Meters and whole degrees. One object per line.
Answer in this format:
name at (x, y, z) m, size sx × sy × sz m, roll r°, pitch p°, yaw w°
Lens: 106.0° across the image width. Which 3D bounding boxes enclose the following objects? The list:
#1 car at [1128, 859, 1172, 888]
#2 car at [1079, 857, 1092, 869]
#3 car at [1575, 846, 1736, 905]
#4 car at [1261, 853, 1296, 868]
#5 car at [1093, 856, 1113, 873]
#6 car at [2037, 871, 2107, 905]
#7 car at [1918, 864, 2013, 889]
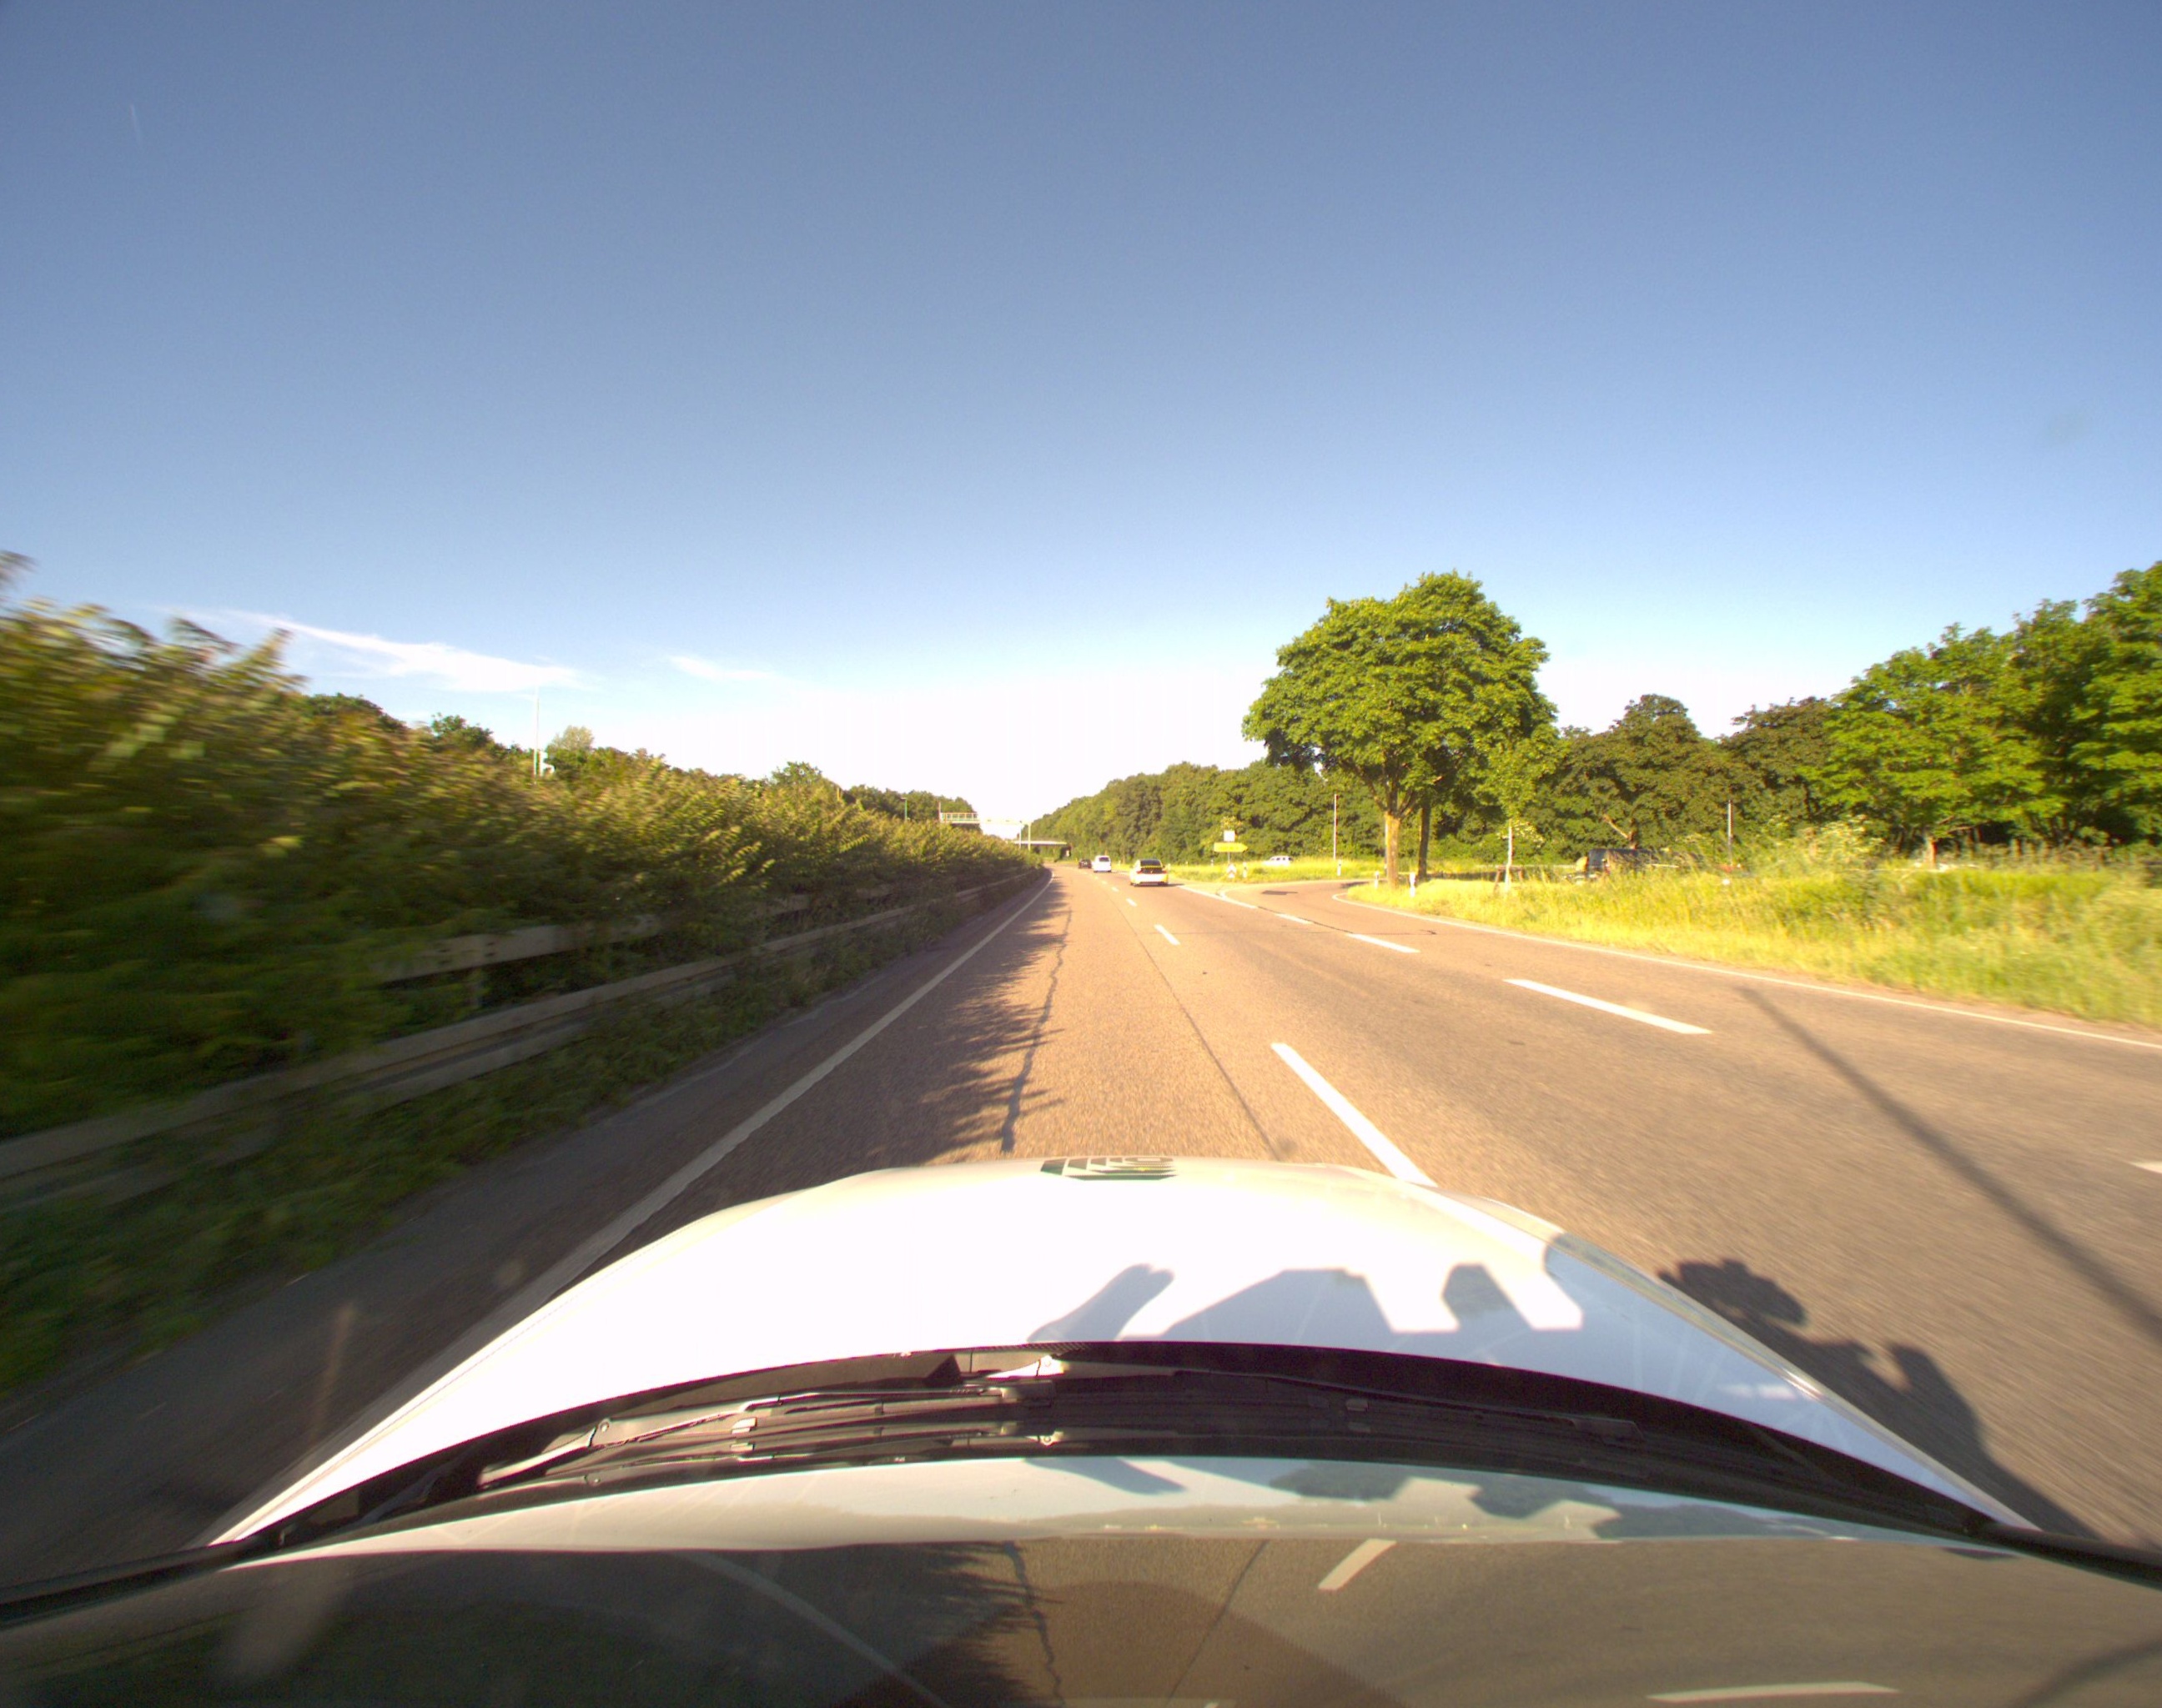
car at (3.675, 1.008, 44.122) m, size 1.892 × 1.471 × 3.997 m, roll -1°, pitch 0°, yaw -2°
car at (0.713, 1.314, 120.134) m, size 1.891 × 1.767 × 3.999 m, roll -1°, pitch 0°, yaw 0°
car at (23.474, 0.871, 33.434) m, size 5.007 × 2.136 × 2.097 m, roll 3°, pitch -2°, yaw 6°
car at (25.073, 0.826, 103.458) m, size 1.914 × 1.824 × 3.951 m, roll 0°, pitch -1°, yaw -43°
car at (2.316, 1.130, 87.110) m, size 1.892 × 1.767 × 3.997 m, roll 0°, pitch -1°, yaw -2°
car at (49.329, 1.667, 40.509) m, size 4.242 × 1.560 × 1.769 m, roll 2°, pitch -1°, yaw -33°
car at (59.008, 1.471, 54.418) m, size 3.949 × 1.576 × 1.922 m, roll 0°, pitch 0°, yaw 32°
